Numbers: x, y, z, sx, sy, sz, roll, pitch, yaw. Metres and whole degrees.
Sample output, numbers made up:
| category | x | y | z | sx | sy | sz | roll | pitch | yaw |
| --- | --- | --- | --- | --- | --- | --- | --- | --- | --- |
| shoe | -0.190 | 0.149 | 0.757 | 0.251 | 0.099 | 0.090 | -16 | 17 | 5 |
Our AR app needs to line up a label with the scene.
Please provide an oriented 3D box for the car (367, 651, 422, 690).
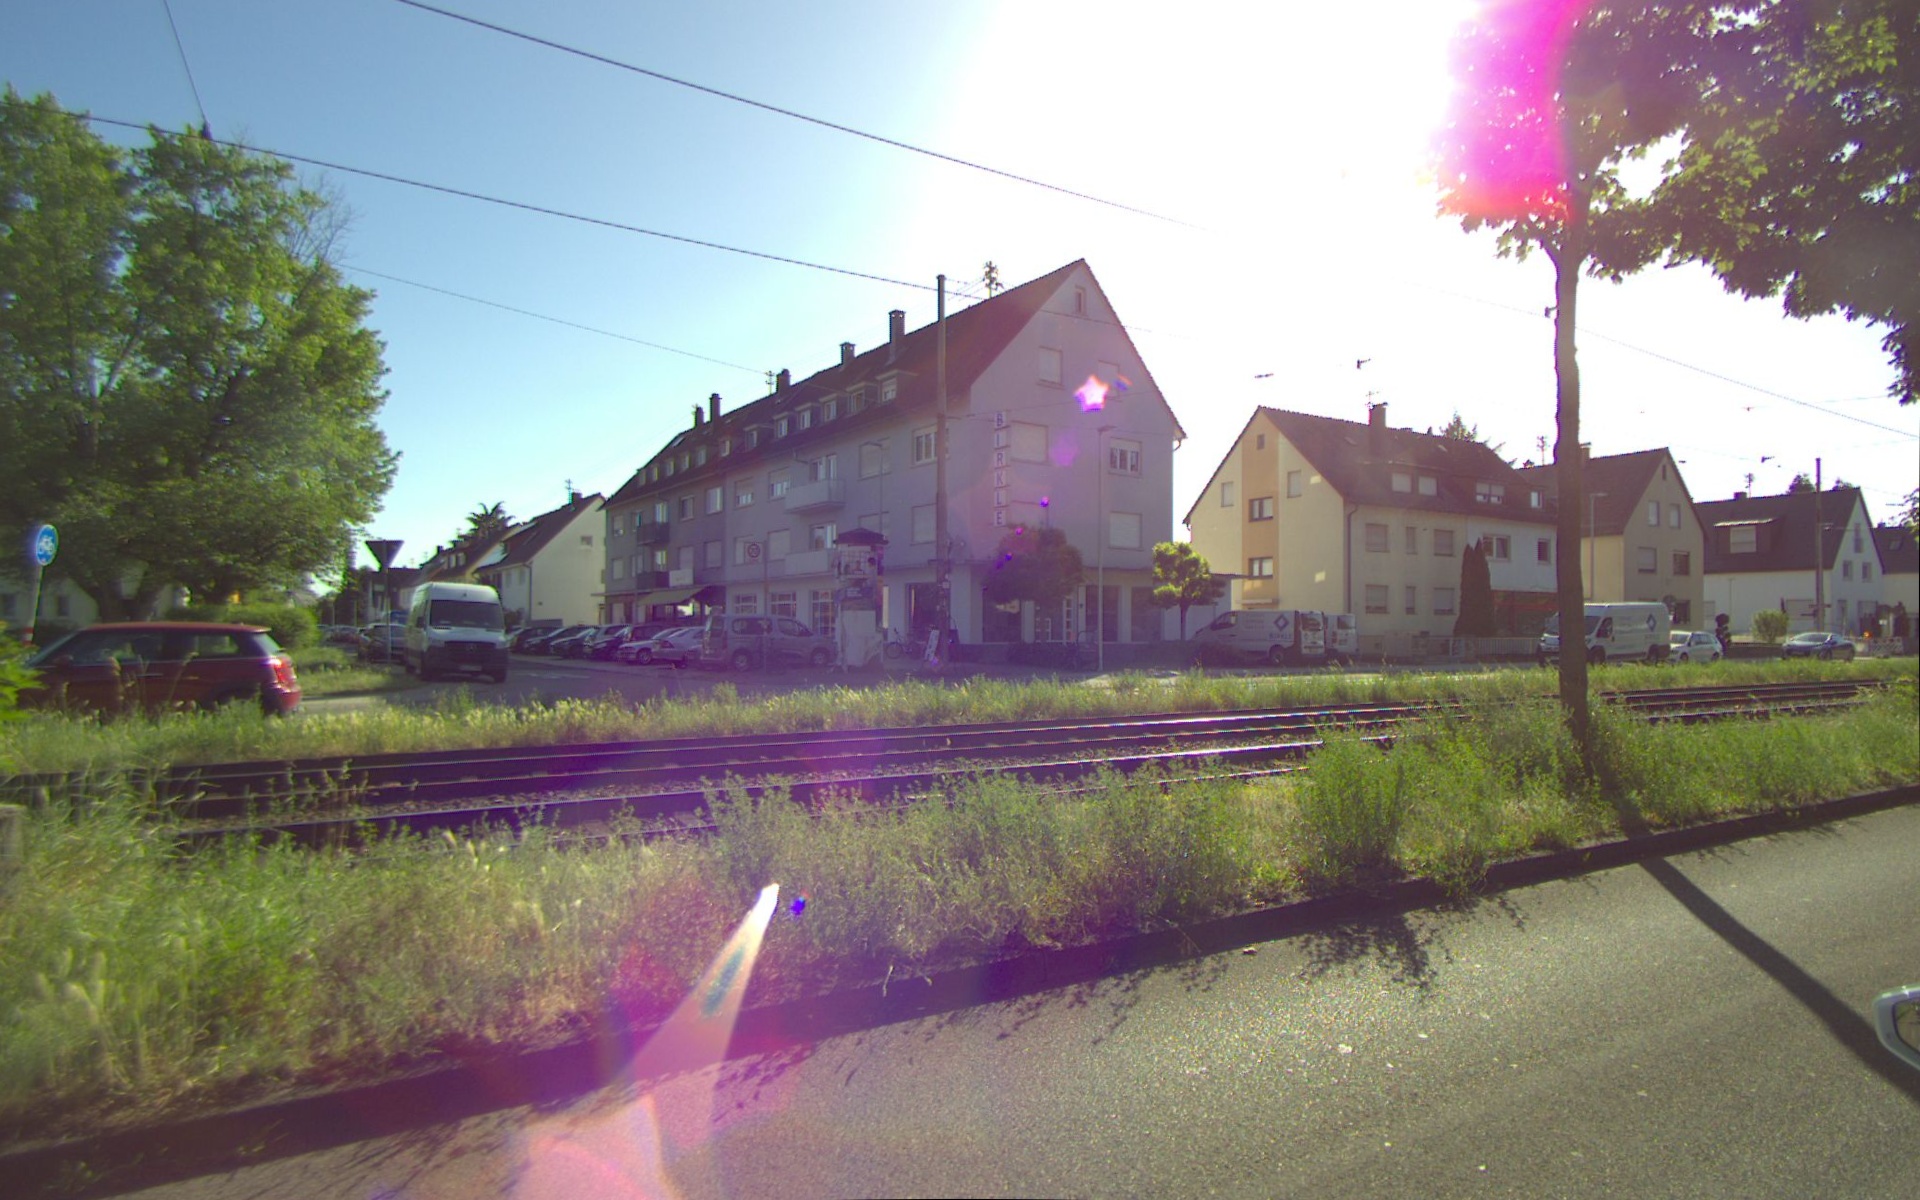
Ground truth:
| category | x | y | z | sx | sy | sz | roll | pitch | yaw |
| --- | --- | --- | --- | --- | --- | --- | --- | --- | --- |
| car | -22.603 | 2.787 | 40.104 | 1.500 | 1.374 | 3.248 | 2 | -1 | -37 |

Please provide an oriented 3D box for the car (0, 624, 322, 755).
| category | x | y | z | sx | sy | sz | roll | pitch | yaw |
| --- | --- | --- | --- | --- | --- | --- | --- | --- | --- |
| car | -10.273 | 1.044 | 12.389 | 3.954 | 1.428 | 1.668 | 2 | -1 | -31 |

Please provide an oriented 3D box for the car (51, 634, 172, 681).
| category | x | y | z | sx | sy | sz | roll | pitch | yaw |
| --- | --- | --- | --- | --- | --- | --- | --- | --- | --- |
| car | -39.083 | 2.610 | 46.408 | 3.956 | 2.040 | 1.983 | 2 | -1 | -32 |

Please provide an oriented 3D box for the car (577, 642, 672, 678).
| category | x | y | z | sx | sy | sz | roll | pitch | yaw |
| --- | --- | --- | --- | --- | --- | --- | --- | --- | --- |
| car | -14.398 | 2.541 | 43.148 | 3.596 | 1.468 | 1.518 | 1 | -2 | -36 |

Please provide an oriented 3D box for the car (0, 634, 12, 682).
| category | x | y | z | sx | sy | sz | roll | pitch | yaw |
| --- | --- | --- | --- | --- | --- | --- | --- | --- | --- |
| car | -43.599 | 2.478 | 43.052 | 3.956 | 2.040 | 1.983 | 2 | -1 | -32 |

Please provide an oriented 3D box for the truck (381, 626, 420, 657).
| category | x | y | z | sx | sy | sz | roll | pitch | yaw |
| --- | --- | --- | --- | --- | --- | --- | --- | --- | --- |
| truck | -39.993 | 2.942 | 71.747 | 1.980 | 2.117 | 4.088 | 2 | -1 | -35 |

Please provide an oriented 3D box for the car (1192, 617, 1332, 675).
| category | x | y | z | sx | sy | sz | roll | pitch | yaw |
| --- | --- | --- | --- | --- | --- | --- | --- | --- | --- |
| car | 10.939 | 1.625 | 36.578 | 1.984 | 1.971 | 4.579 | 1 | -2 | -40 |

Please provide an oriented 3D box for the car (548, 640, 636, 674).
| category | x | y | z | sx | sy | sz | roll | pitch | yaw |
| --- | --- | --- | --- | --- | --- | --- | --- | --- | --- |
| car | -17.036 | 2.614 | 46.544 | 3.596 | 1.484 | 1.518 | 1 | -2 | -36 |

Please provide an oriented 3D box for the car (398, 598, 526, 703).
| category | x | y | z | sx | sy | sz | roll | pitch | yaw |
| --- | --- | --- | --- | --- | --- | --- | --- | --- | --- |
| car | -13.967 | 1.265 | 27.860 | 2.306 | 2.540 | 7.022 | 1 | -1 | -34 |

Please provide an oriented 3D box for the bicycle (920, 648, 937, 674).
| category | x | y | z | sx | sy | sz | roll | pitch | yaw |
| --- | --- | --- | --- | --- | --- | --- | --- | --- | --- |
| bicycle | -1.109 | 2.108 | 34.877 | 0.190 | 0.863 | 0.751 | 1 | -2 | -37 |

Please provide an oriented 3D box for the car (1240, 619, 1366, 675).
| category | x | y | z | sx | sy | sz | roll | pitch | yaw |
| --- | --- | --- | --- | --- | --- | --- | --- | --- | --- |
| car | 12.955 | 1.737 | 38.101 | 1.984 | 1.978 | 4.103 | 1 | -2 | -40 |

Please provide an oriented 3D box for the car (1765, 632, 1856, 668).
| category | x | y | z | sx | sy | sz | roll | pitch | yaw |
| --- | --- | --- | --- | --- | --- | --- | --- | --- | --- |
| car | 41.311 | 2.379 | 48.782 | 4.444 | 1.602 | 1.984 | 1 | -1 | -30 |

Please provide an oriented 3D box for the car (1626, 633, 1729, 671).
| category | x | y | z | sx | sy | sz | roll | pitch | yaw |
| --- | --- | --- | --- | --- | --- | --- | --- | --- | --- |
| car | 29.828 | 2.149 | 41.751 | 4.604 | 1.431 | 1.815 | 2 | -1 | -31 |

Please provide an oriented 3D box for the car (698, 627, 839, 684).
| category | x | y | z | sx | sy | sz | roll | pitch | yaw |
| --- | --- | --- | --- | --- | --- | --- | --- | --- | --- |
| car | -6.063 | 1.730 | 32.090 | 4.065 | 1.692 | 1.781 | 2 | -1 | -39 |

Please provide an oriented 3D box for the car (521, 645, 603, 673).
| category | x | y | z | sx | sy | sz | roll | pitch | yaw |
| --- | --- | --- | --- | --- | --- | --- | --- | --- | --- |
| car | -20.259 | 2.989 | 51.172 | 3.595 | 1.334 | 1.518 | 2 | -1 | -36 |

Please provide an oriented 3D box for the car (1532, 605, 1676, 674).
| category | x | y | z | sx | sy | sz | roll | pitch | yaw |
| --- | --- | --- | --- | --- | --- | --- | --- | --- | --- |
| car | 24.985 | 1.505 | 38.898 | 6.598 | 2.492 | 1.983 | 2 | -1 | -31 |

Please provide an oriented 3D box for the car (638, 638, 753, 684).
| category | x | y | z | sx | sy | sz | roll | pitch | yaw |
| --- | --- | --- | --- | --- | --- | --- | --- | --- | --- |
| car | -9.390 | 2.131 | 35.763 | 3.597 | 1.511 | 1.782 | 1 | -2 | -37 |

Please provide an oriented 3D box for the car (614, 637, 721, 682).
| category | x | y | z | sx | sy | sz | roll | pitch | yaw |
| --- | --- | --- | --- | --- | --- | --- | --- | --- | --- |
| car | -11.359 | 2.288 | 39.047 | 3.598 | 1.612 | 1.782 | 2 | -1 | -37 |
